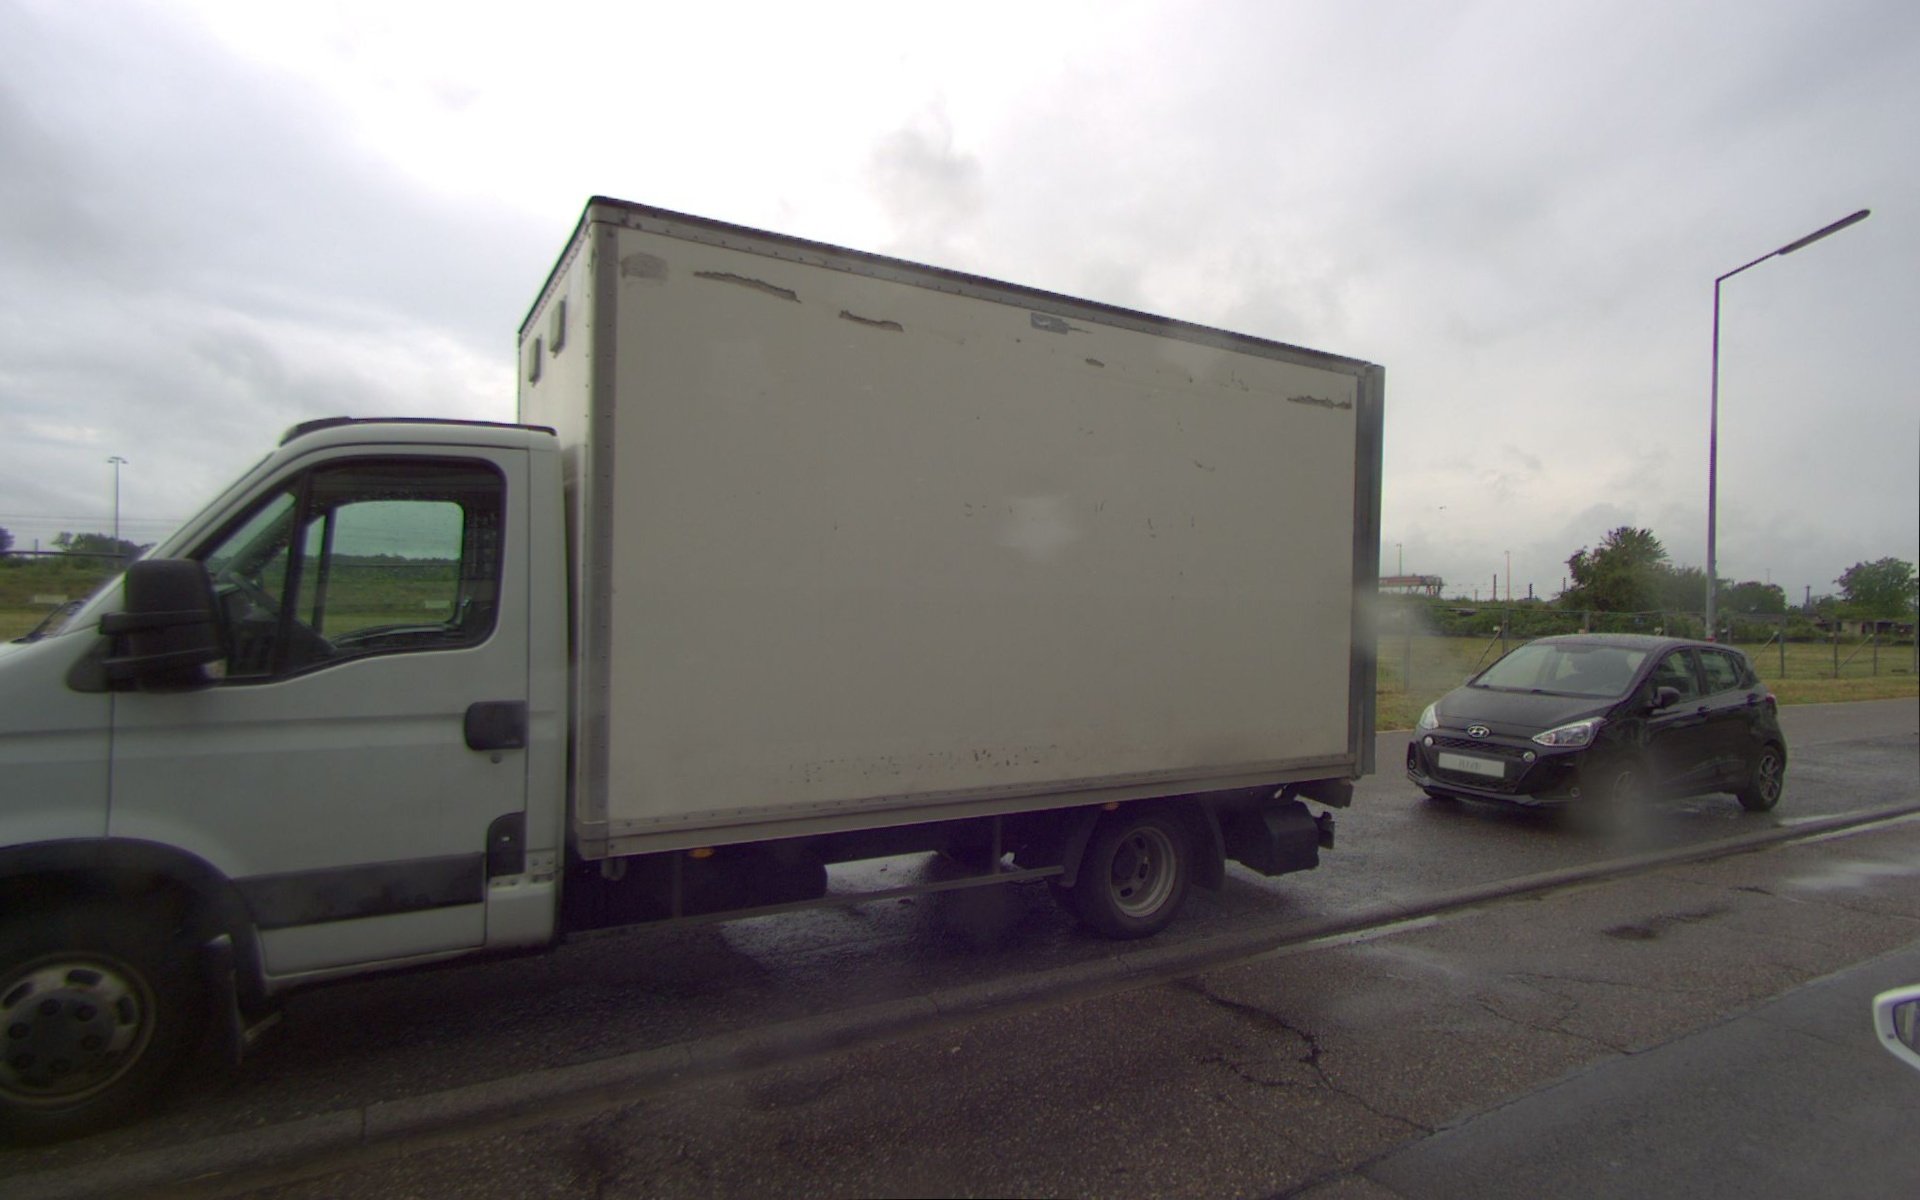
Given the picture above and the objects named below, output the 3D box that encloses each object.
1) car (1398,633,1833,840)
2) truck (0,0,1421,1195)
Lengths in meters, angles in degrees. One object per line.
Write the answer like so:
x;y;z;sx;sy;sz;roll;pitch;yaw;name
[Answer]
6.019;1.071;9.112;4.108;1.482;1.665;2;-1;-30;car
-0.917;0.032;4.935;6.623;3.109;2.423;2;0;-31;truck
